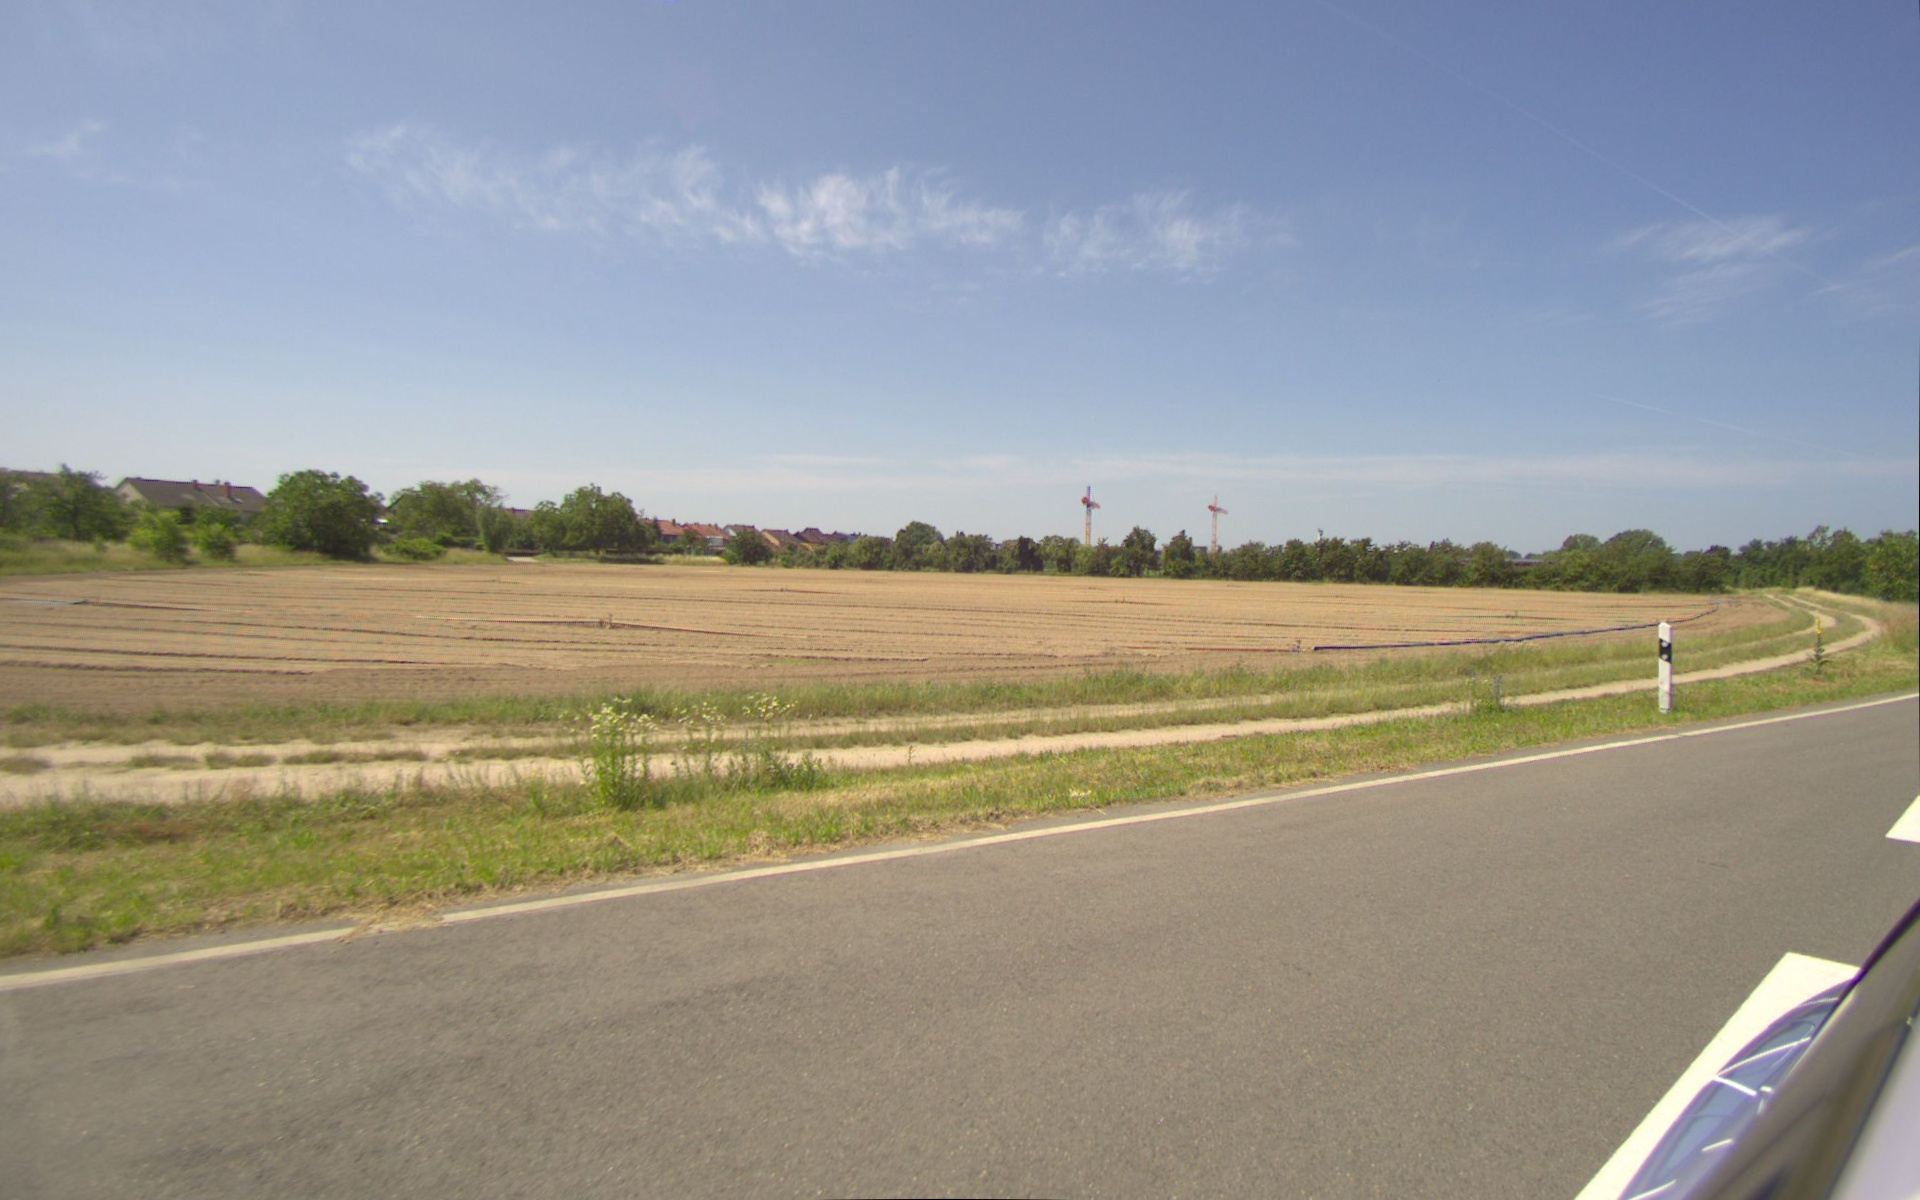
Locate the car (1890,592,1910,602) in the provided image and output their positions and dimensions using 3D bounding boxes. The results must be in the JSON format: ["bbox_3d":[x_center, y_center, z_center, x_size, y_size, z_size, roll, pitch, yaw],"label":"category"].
[{"bbox_3d":[136.482,-0.394,146.974,1.689,1.379,3.774,1,1,38],"label":"car"}]
